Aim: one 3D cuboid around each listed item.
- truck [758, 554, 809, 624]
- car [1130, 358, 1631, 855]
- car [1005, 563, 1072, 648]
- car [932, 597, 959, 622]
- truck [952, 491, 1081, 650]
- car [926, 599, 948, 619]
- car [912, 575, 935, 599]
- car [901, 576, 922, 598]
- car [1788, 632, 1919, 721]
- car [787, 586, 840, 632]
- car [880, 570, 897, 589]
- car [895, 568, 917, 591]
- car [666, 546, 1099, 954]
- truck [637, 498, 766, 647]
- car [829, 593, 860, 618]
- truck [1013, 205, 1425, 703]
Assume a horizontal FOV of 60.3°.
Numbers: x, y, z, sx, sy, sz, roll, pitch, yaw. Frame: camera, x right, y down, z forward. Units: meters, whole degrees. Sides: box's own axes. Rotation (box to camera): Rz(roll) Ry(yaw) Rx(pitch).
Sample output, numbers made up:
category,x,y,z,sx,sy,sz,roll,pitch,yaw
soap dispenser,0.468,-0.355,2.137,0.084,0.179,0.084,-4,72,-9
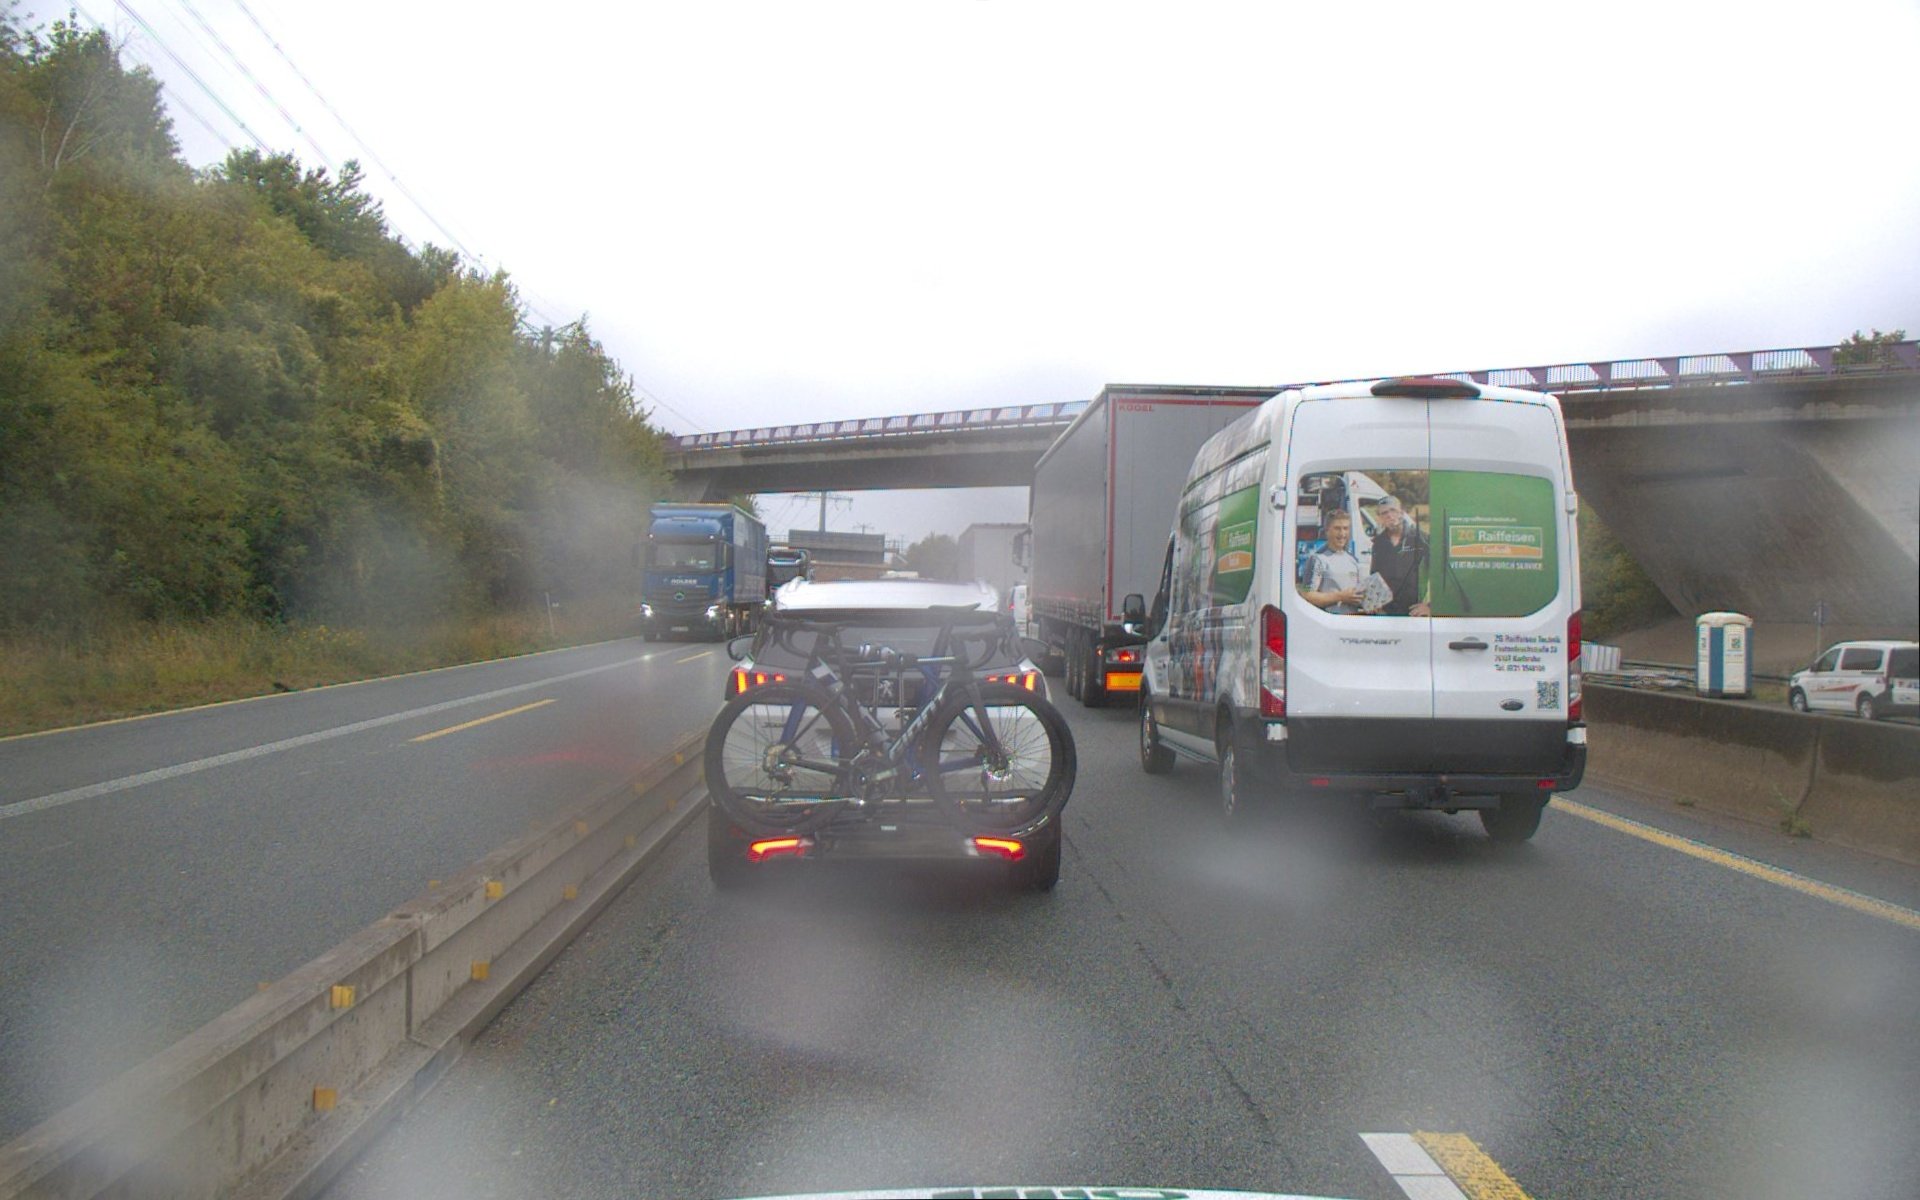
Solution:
category,x,y,z,sx,sy,sz,roll,pitch,yaw
truck,-11.111,-0.645,104.934,2.414,4.195,10.084,1,0,-2
car,2.652,0.048,12.227,2.100,2.723,6.116,1,0,0
car,2.137,0.158,45.873,1.635,2.218,4.534,1,0,0
car,-0.882,0.577,101.871,1.605,1.524,3.665,1,0,-1
truck,2.128,-1.053,70.960,4.645,5.772,20.375,1,0,0
car,-1.761,0.677,127.714,1.605,1.524,3.665,1,0,-1
car,-3.193,-1.090,144.244,1.953,2.049,3.998,1,0,-3
car,-4.777,-1.269,162.872,1.953,2.049,3.999,1,0,-1
car,20.679,1.688,37.505,1.809,1.840,4.157,1,0,1
car,-5.519,0.337,62.808,1.747,1.638,4.102,1,0,-2
car,-8.895,-2.544,205.430,1.953,2.164,4.526,1,0,-1
car,-5.734,-2.116,175.324,2.193,2.347,4.571,1,0,-1
car,-0.307,0.630,9.181,1.773,1.666,4.635,1,0,0
truck,-8.340,-0.755,55.466,2.711,4.195,16.913,1,0,-4
car,-7.288,0.323,104.663,1.900,1.520,3.997,1,0,-4
truck,3.372,-1.673,29.567,3.898,5.772,20.372,1,0,-1
